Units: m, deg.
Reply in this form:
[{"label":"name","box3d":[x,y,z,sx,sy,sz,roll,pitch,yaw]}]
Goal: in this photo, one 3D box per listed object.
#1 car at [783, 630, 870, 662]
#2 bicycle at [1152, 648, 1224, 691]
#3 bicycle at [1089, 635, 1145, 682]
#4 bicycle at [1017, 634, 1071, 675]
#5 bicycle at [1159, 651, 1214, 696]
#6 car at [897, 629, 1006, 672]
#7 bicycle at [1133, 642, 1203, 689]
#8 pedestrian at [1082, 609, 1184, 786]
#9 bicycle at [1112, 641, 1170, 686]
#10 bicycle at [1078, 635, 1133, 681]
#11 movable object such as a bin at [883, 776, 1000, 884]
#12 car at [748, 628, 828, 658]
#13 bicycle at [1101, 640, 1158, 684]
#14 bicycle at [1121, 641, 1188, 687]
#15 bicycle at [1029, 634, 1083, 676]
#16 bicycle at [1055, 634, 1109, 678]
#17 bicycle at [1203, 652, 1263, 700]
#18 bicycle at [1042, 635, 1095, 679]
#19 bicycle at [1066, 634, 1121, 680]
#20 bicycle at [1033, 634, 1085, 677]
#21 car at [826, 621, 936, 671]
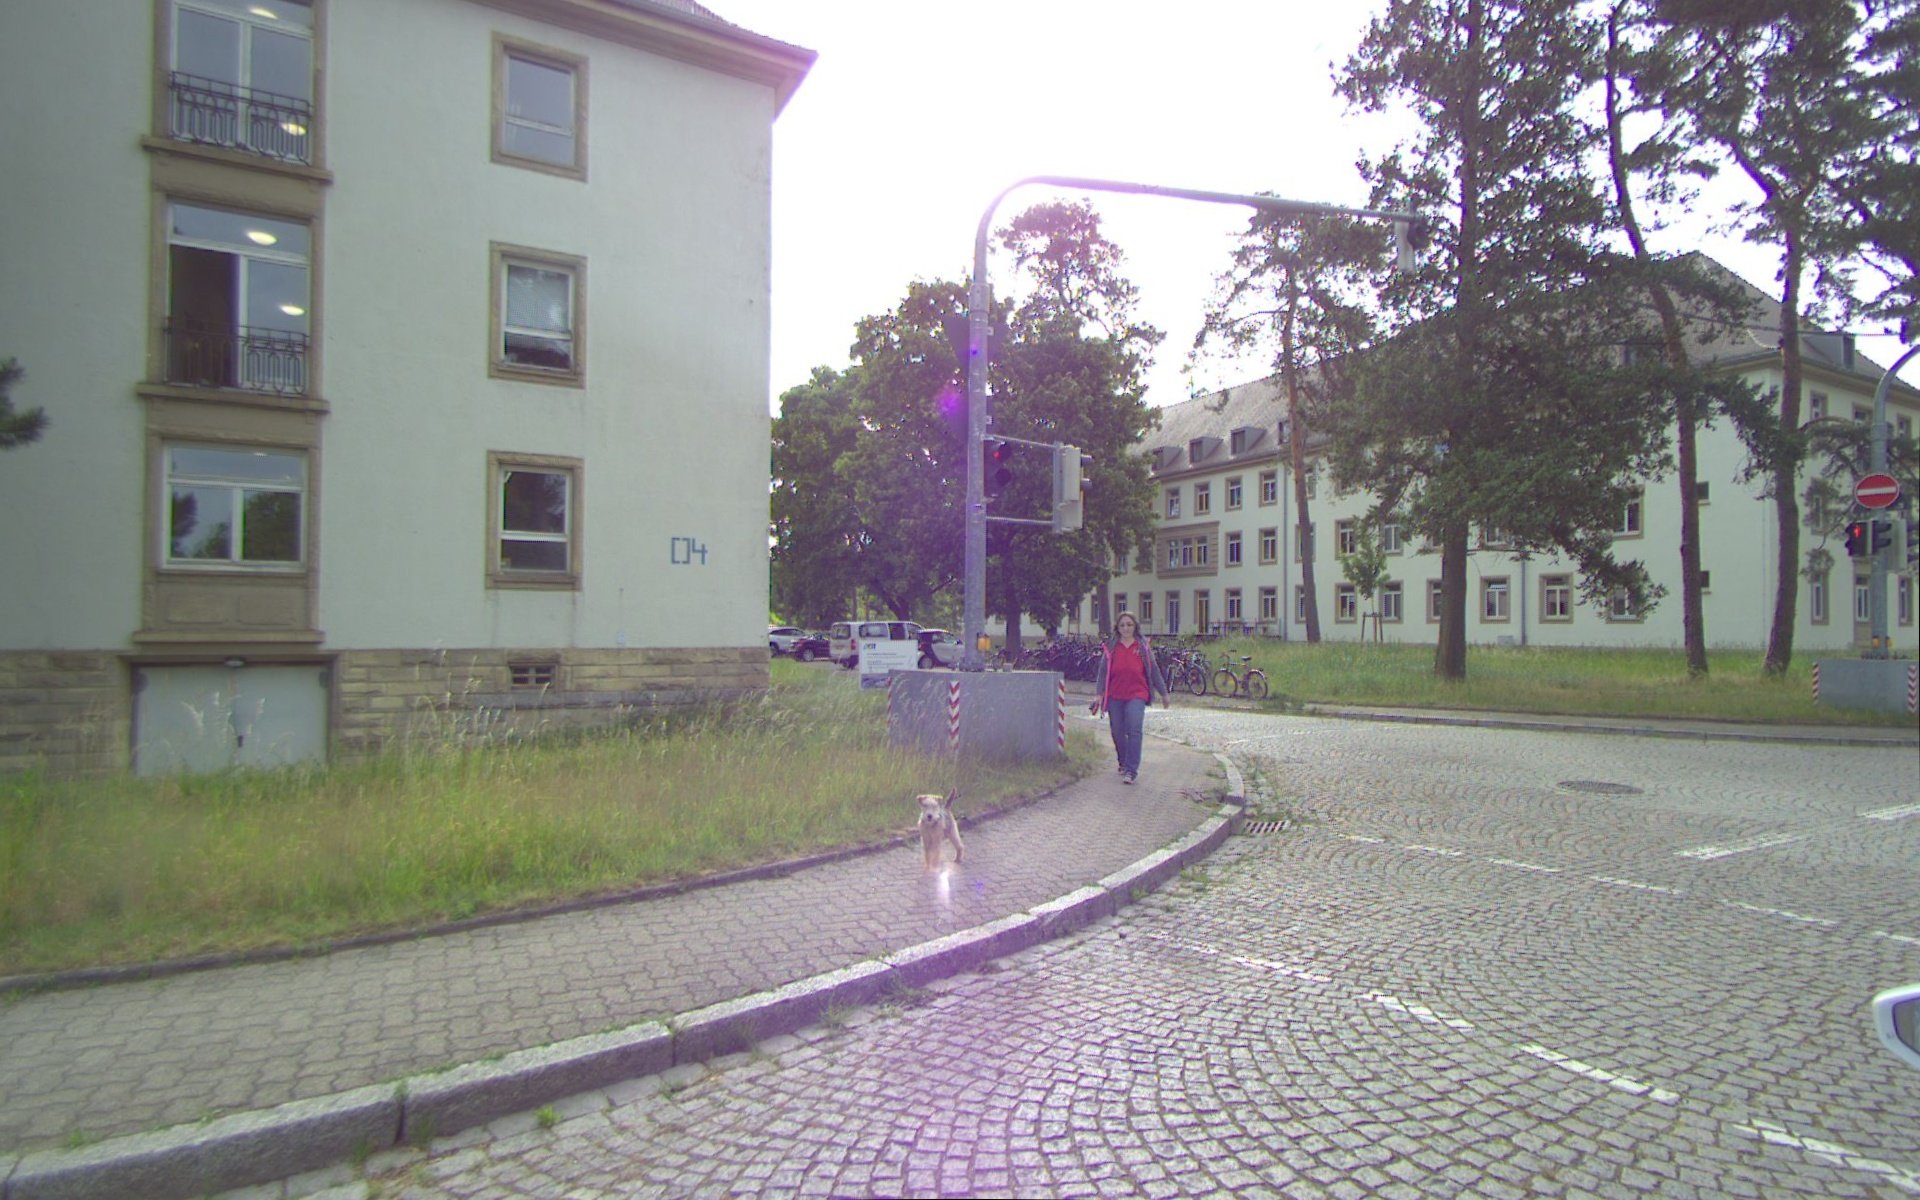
[{"label":"car","box3d":[-6.511,2.234,49.176,3.849,1.534,1.832,1,-2,-29]},{"label":"bicycle","box3d":[5.916,1.785,26.036,1.973,1.092,0.572,1,-2,-31]},{"label":"bicycle","box3d":[4.483,1.665,28.656,1.676,1.300,0.447,1,-2,-31]},{"label":"bicycle","box3d":[2.674,1.718,31.840,1.806,1.300,0.447,1,-2,-31]},{"label":"bicycle","box3d":[5.389,1.744,23.968,0.446,1.009,1.454,1,-2,-27]},{"label":"car","box3d":[-0.325,1.945,39.229,3.849,1.576,1.832,1,-2,-29]},{"label":"bicycle","box3d":[5.521,1.716,26.609,1.931,1.193,0.572,1,-2,-31]},{"label":"pedestrian","box3d":[1.760,0.945,10.163,0.921,1.690,0.863,0,-2,17]},{"label":"bicycle","box3d":[4.977,1.728,27.559,1.676,1.193,0.447,1,-2,-31]},{"label":"bicycle","box3d":[4.208,1.664,29.080,1.676,1.300,0.447,1,-2,-31]},{"label":"movable object such as a bin","box3d":[-0.102,1.427,6.335,0.436,0.510,0.751,-1,-2,27]},{"label":"car","box3d":[-9.221,2.306,53.914,3.849,1.546,1.832,1,-2,-29]},{"label":"bicycle","box3d":[4.729,1.715,27.976,1.676,1.193,0.447,1,-2,-31]},{"label":"bicycle","box3d":[5.269,1.717,27.137,1.908,1.193,0.525,1,-2,-31]},{"label":"bicycle","box3d":[3.007,1.721,31.498,1.764,1.300,0.440,1,-2,-31]},{"label":"bicycle","box3d":[3.640,1.662,29.994,1.676,1.300,0.447,1,-2,-31]},{"label":"bicycle","box3d":[6.131,1.701,22.637,0.446,1.009,1.454,1,-2,-27]},{"label":"bicycle","box3d":[3.302,1.716,30.565,1.676,1.300,0.447,1,-2,-31]},{"label":"bicycle","box3d":[3.927,1.663,29.511,1.676,1.300,0.447,1,-2,-31]},{"label":"bicycle","box3d":[3.061,1.715,30.987,1.676,1.300,0.447,1,-2,-31]},{"label":"car","box3d":[-3.210,1.849,40.957,4.085,1.932,1.832,1,-2,-29]}]
